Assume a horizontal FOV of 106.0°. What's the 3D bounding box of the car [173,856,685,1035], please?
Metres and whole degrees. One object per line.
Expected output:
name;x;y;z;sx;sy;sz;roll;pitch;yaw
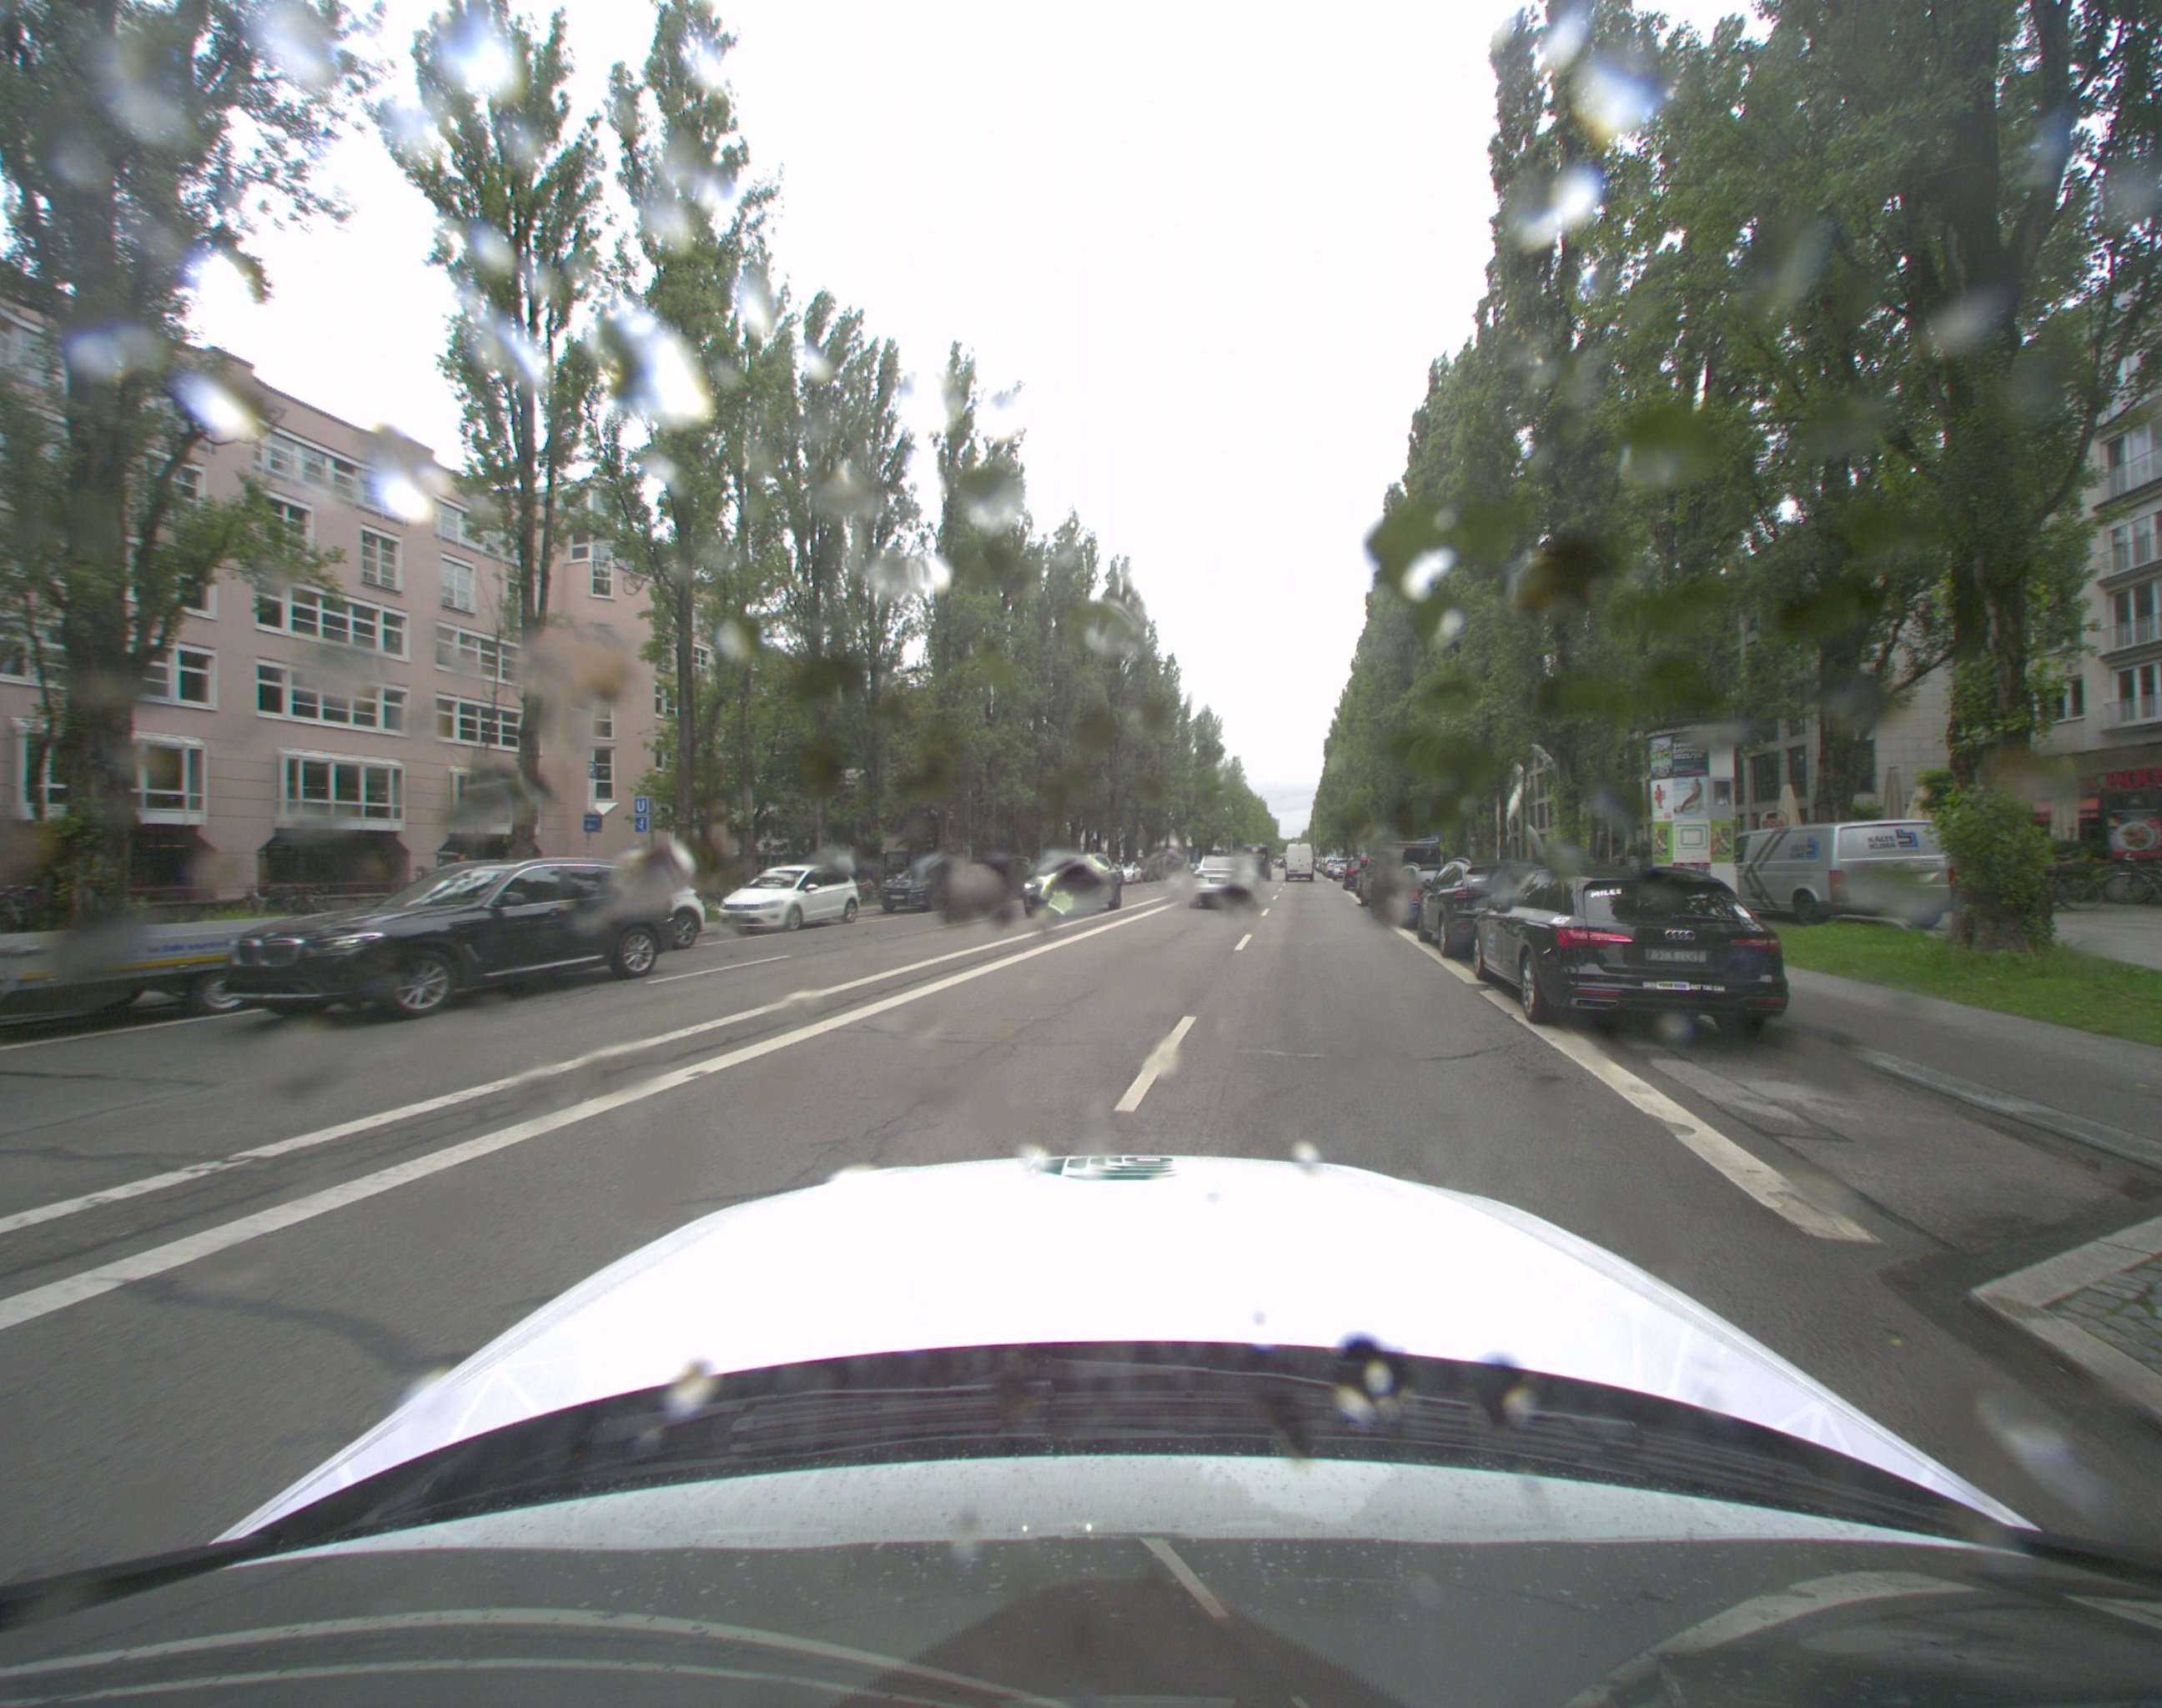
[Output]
car;-7.405;0.884;10.009;1.979;1.642;4.569;-2;0;15

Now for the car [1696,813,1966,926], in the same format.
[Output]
car;14.639;0.288;16.385;1.795;1.896;5.224;-1;-1;16

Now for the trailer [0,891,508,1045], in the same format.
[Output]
trailer;-10.426;1.151;9.400;2.379;1.199;6.063;-1;0;16

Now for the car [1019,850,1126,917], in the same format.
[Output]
car;-0.120;0.802;23.903;1.980;1.716;4.776;-2;-1;13

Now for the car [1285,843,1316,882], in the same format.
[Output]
car;15.741;0.554;58.458;2.025;2.652;6.066;1;0;15

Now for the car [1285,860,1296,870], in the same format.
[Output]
car;35.547;1.911;138.423;1.730;1.643;3.965;0;0;13

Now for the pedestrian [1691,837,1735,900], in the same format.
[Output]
pedestrian;18.263;0.420;23.548;0.742;1.803;0.847;-1;-1;19

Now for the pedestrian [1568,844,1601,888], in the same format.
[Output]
pedestrian;20.576;0.504;33.306;0.901;1.752;0.864;-1;-1;15

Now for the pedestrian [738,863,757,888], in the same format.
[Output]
pedestrian;-22.483;1.434;54.914;0.808;1.662;0.901;-1;-1;15

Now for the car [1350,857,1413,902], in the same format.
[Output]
car;11.155;0.902;30.422;1.730;1.527;3.965;0;0;13

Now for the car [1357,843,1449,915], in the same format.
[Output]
car;9.578;0.697;24.605;1.897;1.924;5.057;0;0;13

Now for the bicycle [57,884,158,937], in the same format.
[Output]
bicycle;-21.884;1.257;18.312;1.968;1.124;0.679;-1;0;15

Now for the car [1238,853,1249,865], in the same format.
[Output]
car;39.801;1.114;199.444;2.177;2.718;7.029;-1;1;15

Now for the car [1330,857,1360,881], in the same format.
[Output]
car;18.626;1.039;57.613;1.730;1.643;3.965;0;0;13

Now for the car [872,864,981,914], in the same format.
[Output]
car;-5.248;1.152;28.335;1.978;1.542;4.343;-1;0;16

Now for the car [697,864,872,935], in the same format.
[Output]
car;-7.285;1.053;20.535;1.979;1.542;4.342;-1;0;15

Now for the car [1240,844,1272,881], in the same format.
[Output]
car;12.971;0.608;60.027;2.061;2.556;5.955;0;0;14

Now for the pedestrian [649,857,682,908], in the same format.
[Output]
pedestrian;-14.231;0.960;27.897;0.701;1.714;0.735;-1;-1;15

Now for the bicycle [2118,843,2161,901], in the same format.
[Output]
bicycle;21.930;0.354;16.063;0.584;1.160;1.869;-1;0;1

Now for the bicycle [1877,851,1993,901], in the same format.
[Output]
bicycle;20.433;0.535;19.526;1.849;1.160;0.590;-1;-1;16

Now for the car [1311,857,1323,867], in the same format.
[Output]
car;40.169;1.346;138.746;1.730;1.643;3.965;0;0;13

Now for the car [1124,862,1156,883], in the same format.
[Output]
car;4.692;1.456;64.516;1.748;1.579;3.988;-1;0;15

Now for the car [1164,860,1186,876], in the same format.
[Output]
car;9.627;1.400;83.067;1.748;1.579;3.475;-1;0;15

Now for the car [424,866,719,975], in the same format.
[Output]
car;-8.692;1.063;14.409;1.786;1.542;4.253;-2;0;17

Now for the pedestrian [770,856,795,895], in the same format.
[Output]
pedestrian;-13.233;0.956;36.102;0.701;1.714;0.735;-1;-1;15

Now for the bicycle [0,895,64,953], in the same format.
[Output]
bicycle;-22.205;1.437;16.874;1.968;1.124;0.679;-1;0;15

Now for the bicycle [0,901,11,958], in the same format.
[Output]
bicycle;-22.361;1.505;16.144;1.968;1.124;0.679;-1;0;15

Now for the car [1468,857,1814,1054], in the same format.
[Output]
car;5.218;0.760;8.327;1.736;1.427;4.468;0;0;18

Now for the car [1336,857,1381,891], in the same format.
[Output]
car;13.611;0.959;40.117;1.730;1.591;3.965;0;0;13

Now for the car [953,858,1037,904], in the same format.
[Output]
car;-3.547;1.083;34.688;1.979;1.797;4.780;-1;0;14

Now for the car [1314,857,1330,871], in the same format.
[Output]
car;30.619;1.266;103.465;1.730;1.643;3.965;0;0;13

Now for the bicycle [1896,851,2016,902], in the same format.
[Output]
bicycle;20.180;0.513;18.818;1.849;1.160;0.590;-1;0;16

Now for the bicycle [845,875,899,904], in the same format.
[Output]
bicycle;-8.344;1.424;32.521;1.968;1.124;0.679;-1;0;15

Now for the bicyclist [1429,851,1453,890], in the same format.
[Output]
bicyclist;15.399;0.689;34.847;0.717;1.619;0.759;-3;-1;12

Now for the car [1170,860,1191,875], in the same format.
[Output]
car;10.598;1.426;86.676;1.749;1.579;3.474;-1;-1;14

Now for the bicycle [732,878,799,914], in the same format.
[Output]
bicycle;-10.231;1.367;26.416;1.968;1.124;0.679;-1;0;15

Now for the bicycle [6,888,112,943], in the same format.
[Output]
bicycle;-22.059;1.319;17.582;1.968;1.124;0.679;-1;0;15

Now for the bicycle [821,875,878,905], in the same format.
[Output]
bicycle;-8.814;1.376;31.025;1.968;1.124;0.679;-1;0;15

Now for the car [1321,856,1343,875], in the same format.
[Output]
car;23.822;1.062;77.269;1.730;1.787;3.965;0;0;13

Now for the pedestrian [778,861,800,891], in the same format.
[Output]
pedestrian;-16.787;1.262;46.831;0.808;1.662;0.901;-1;-1;15

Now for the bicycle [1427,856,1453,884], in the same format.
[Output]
bicycle;15.367;0.697;34.875;0.711;1.148;1.908;-4;-3;17

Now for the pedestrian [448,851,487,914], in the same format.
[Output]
pedestrian;-15.968;0.742;21.192;0.551;1.604;0.663;-1;-1;35

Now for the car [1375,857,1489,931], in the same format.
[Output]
car;8.108;0.841;19.153;1.731;1.527;4.249;0;0;13

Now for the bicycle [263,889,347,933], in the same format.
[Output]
bicycle;-20.669;1.509;21.703;1.968;1.124;0.679;-1;0;15

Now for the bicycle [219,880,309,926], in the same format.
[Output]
bicycle;-21.010;1.247;20.940;2.084;1.124;0.679;-1;0;15

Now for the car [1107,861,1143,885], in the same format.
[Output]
car;3.225;1.374;58.912;1.748;1.579;3.988;-1;1;15

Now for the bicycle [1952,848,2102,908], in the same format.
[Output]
bicycle;19.789;0.517;17.084;2.010;1.160;0.590;-3;-2;16

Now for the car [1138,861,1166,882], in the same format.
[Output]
car;6.121;1.470;69.955;1.748;1.579;3.988;-1;1;15

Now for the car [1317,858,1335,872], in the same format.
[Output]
car;27.787;1.233;92.456;1.730;1.643;3.965;0;0;13

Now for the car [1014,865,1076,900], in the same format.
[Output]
car;-1.689;1.363;40.061;1.980;1.606;4.367;-1;-1;12

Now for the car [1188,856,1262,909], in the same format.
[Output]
car;4.791;0.848;26.581;1.979;1.575;4.656;0;0;15

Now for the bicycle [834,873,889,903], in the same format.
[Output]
bicycle;-8.561;1.334;31.753;1.968;1.124;0.679;-1;0;15

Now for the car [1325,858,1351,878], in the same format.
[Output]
car;20.652;1.071;65.595;1.730;1.546;3.965;0;0;13

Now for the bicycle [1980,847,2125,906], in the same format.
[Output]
bicycle;19.531;0.455;16.419;1.849;1.160;0.590;-1;0;16

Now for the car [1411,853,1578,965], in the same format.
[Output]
car;6.565;0.771;13.351;1.729;1.527;3.924;0;0;16
